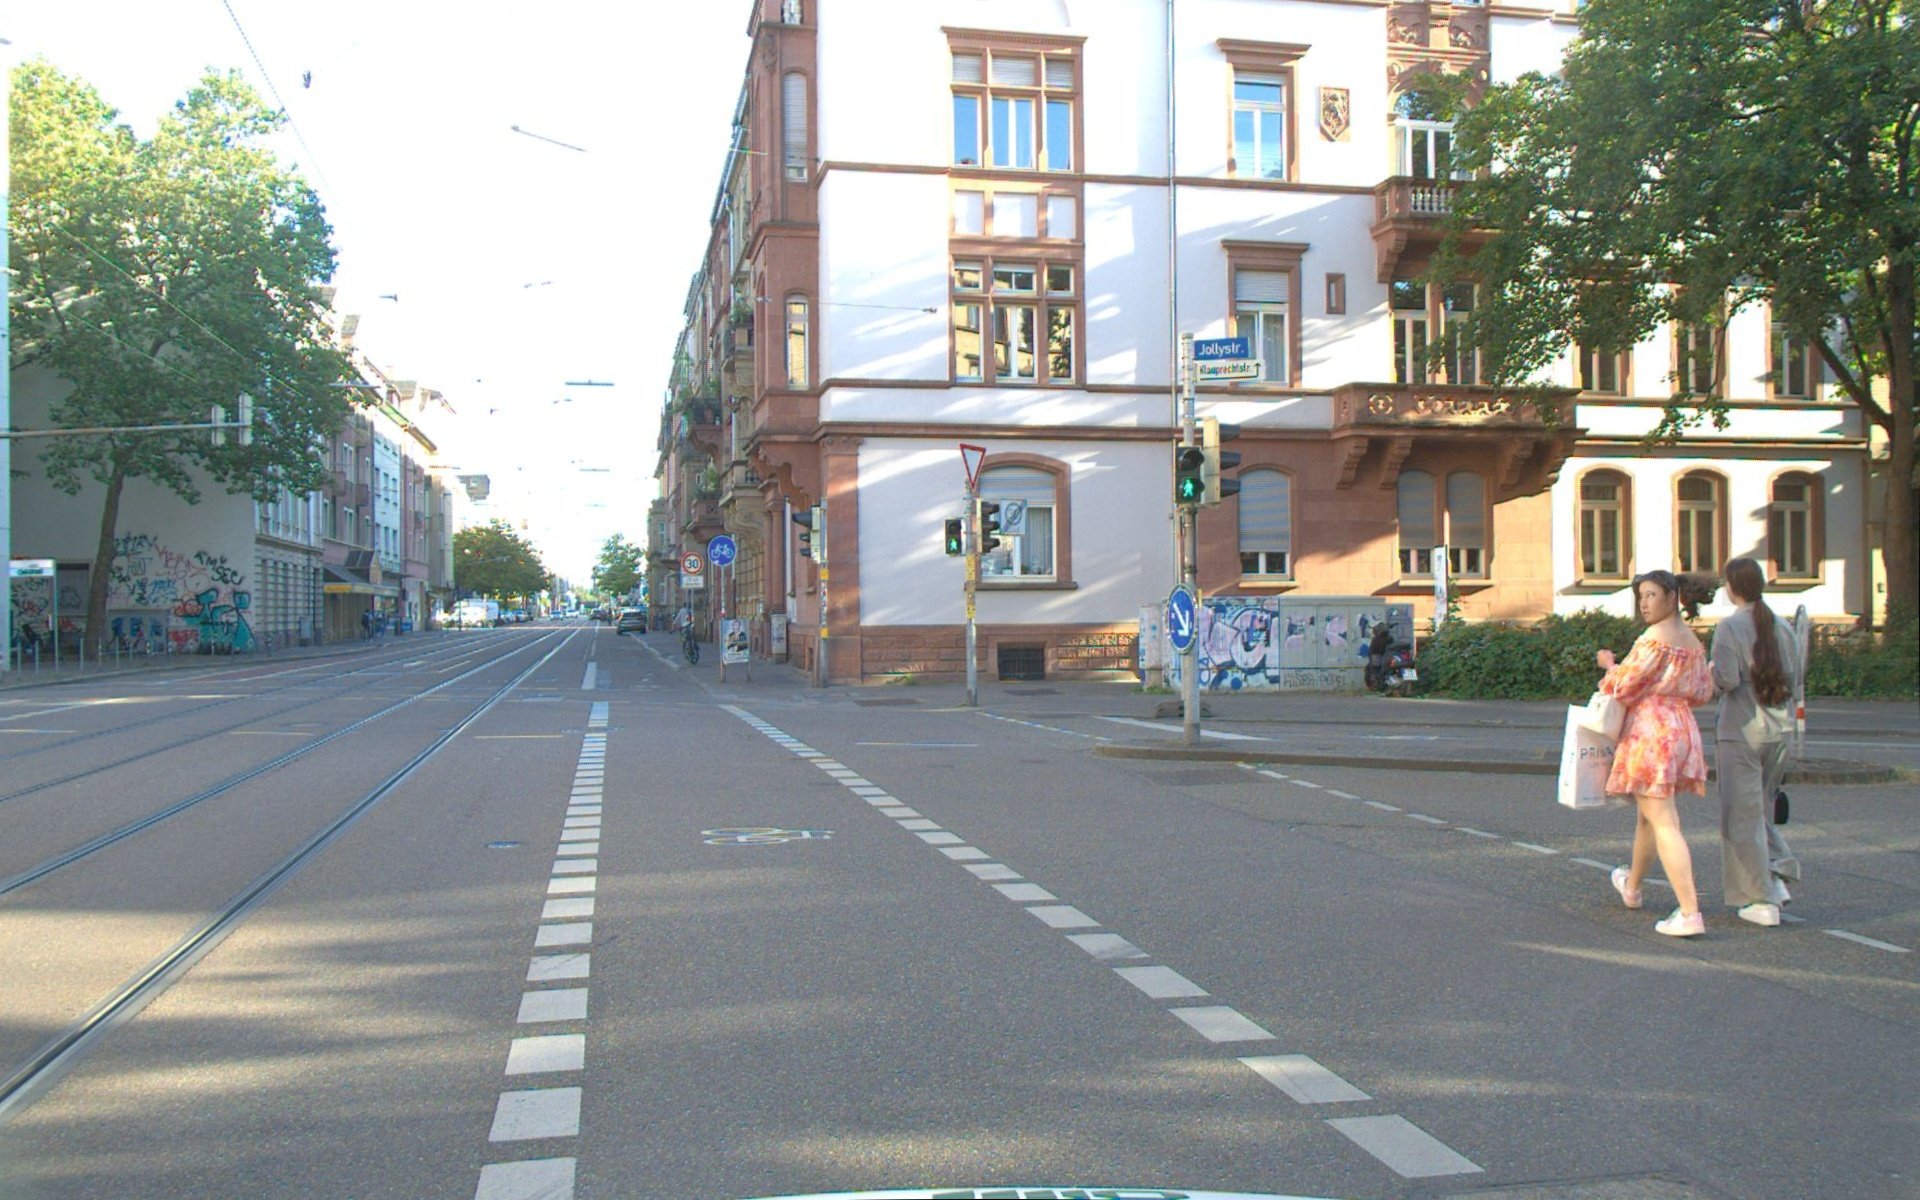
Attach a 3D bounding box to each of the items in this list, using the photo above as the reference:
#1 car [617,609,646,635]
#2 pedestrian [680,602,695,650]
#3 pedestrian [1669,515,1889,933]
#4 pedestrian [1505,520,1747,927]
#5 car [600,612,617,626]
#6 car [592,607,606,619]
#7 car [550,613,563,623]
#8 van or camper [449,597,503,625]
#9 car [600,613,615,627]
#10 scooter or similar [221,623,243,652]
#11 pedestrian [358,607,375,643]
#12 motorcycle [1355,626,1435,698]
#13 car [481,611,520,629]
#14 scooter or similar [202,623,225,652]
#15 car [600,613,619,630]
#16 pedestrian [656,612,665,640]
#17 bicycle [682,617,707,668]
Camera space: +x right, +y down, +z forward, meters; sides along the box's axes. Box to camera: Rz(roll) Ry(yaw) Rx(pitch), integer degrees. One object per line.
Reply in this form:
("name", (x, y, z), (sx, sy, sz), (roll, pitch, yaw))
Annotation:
("car", (-22.305, 1.484, 112.358), (1.915, 1.713, 3.989), (-1, 0, -11))
("pedestrian", (-10.425, 0.988, 63.249), (0.535, 1.811, 0.502), (0, -1, -12))
("pedestrian", (4.006, 0.572, 8.144), (0.676, 1.941, 0.671), (3, 2, 6))
("pedestrian", (3.202, 0.566, 8.024), (0.788, 1.831, 0.762), (3, 0, 3))
("car", (-43.479, 2.324, 204.474), (1.959, 1.758, 3.987), (0, -1, -13))
("car", (-52.414, 1.930, 240.028), (1.959, 1.758, 3.987), (0, -1, -13))
("car", (-59.047, 2.610, 242.102), (1.788, 1.467, 3.987), (0, -1, -12))
("van or camper", (-46.334, 1.089, 158.369), (4.613, 2.608, 1.968), (1, -1, -44))
("car", (-45.566, 2.584, 213.722), (1.959, 1.758, 3.987), (0, -1, -13))
("scooter or similar", (-27.027, 1.384, 61.398), (0.508, 1.076, 1.473), (0, 0, -14))
("pedestrian", (-29.530, 1.249, 82.338), (0.689, 1.759, 0.645), (-1, -1, -13))
("motorcycle", (7.171, 0.999, 27.370), (0.704, 1.037, 2.287), (-1, 2, -1))
("car", (-53.501, 2.291, 192.616), (3.958, 2.049, 1.973), (0, -1, -38))
("scooter or similar", (-27.619, 1.389, 61.228), (0.508, 1.064, 1.473), (0, 0, -14))
("car", (-37.153, 2.298, 175.329), (1.959, 1.758, 3.987), (0, -1, -13))
("pedestrian", (-19.526, 1.716, 107.921), (0.535, 1.811, 0.747), (0, -1, -12))
("bicycle", (-7.201, 1.130, 44.755), (0.641, 1.347, 2.171), (0, 0, -10))
